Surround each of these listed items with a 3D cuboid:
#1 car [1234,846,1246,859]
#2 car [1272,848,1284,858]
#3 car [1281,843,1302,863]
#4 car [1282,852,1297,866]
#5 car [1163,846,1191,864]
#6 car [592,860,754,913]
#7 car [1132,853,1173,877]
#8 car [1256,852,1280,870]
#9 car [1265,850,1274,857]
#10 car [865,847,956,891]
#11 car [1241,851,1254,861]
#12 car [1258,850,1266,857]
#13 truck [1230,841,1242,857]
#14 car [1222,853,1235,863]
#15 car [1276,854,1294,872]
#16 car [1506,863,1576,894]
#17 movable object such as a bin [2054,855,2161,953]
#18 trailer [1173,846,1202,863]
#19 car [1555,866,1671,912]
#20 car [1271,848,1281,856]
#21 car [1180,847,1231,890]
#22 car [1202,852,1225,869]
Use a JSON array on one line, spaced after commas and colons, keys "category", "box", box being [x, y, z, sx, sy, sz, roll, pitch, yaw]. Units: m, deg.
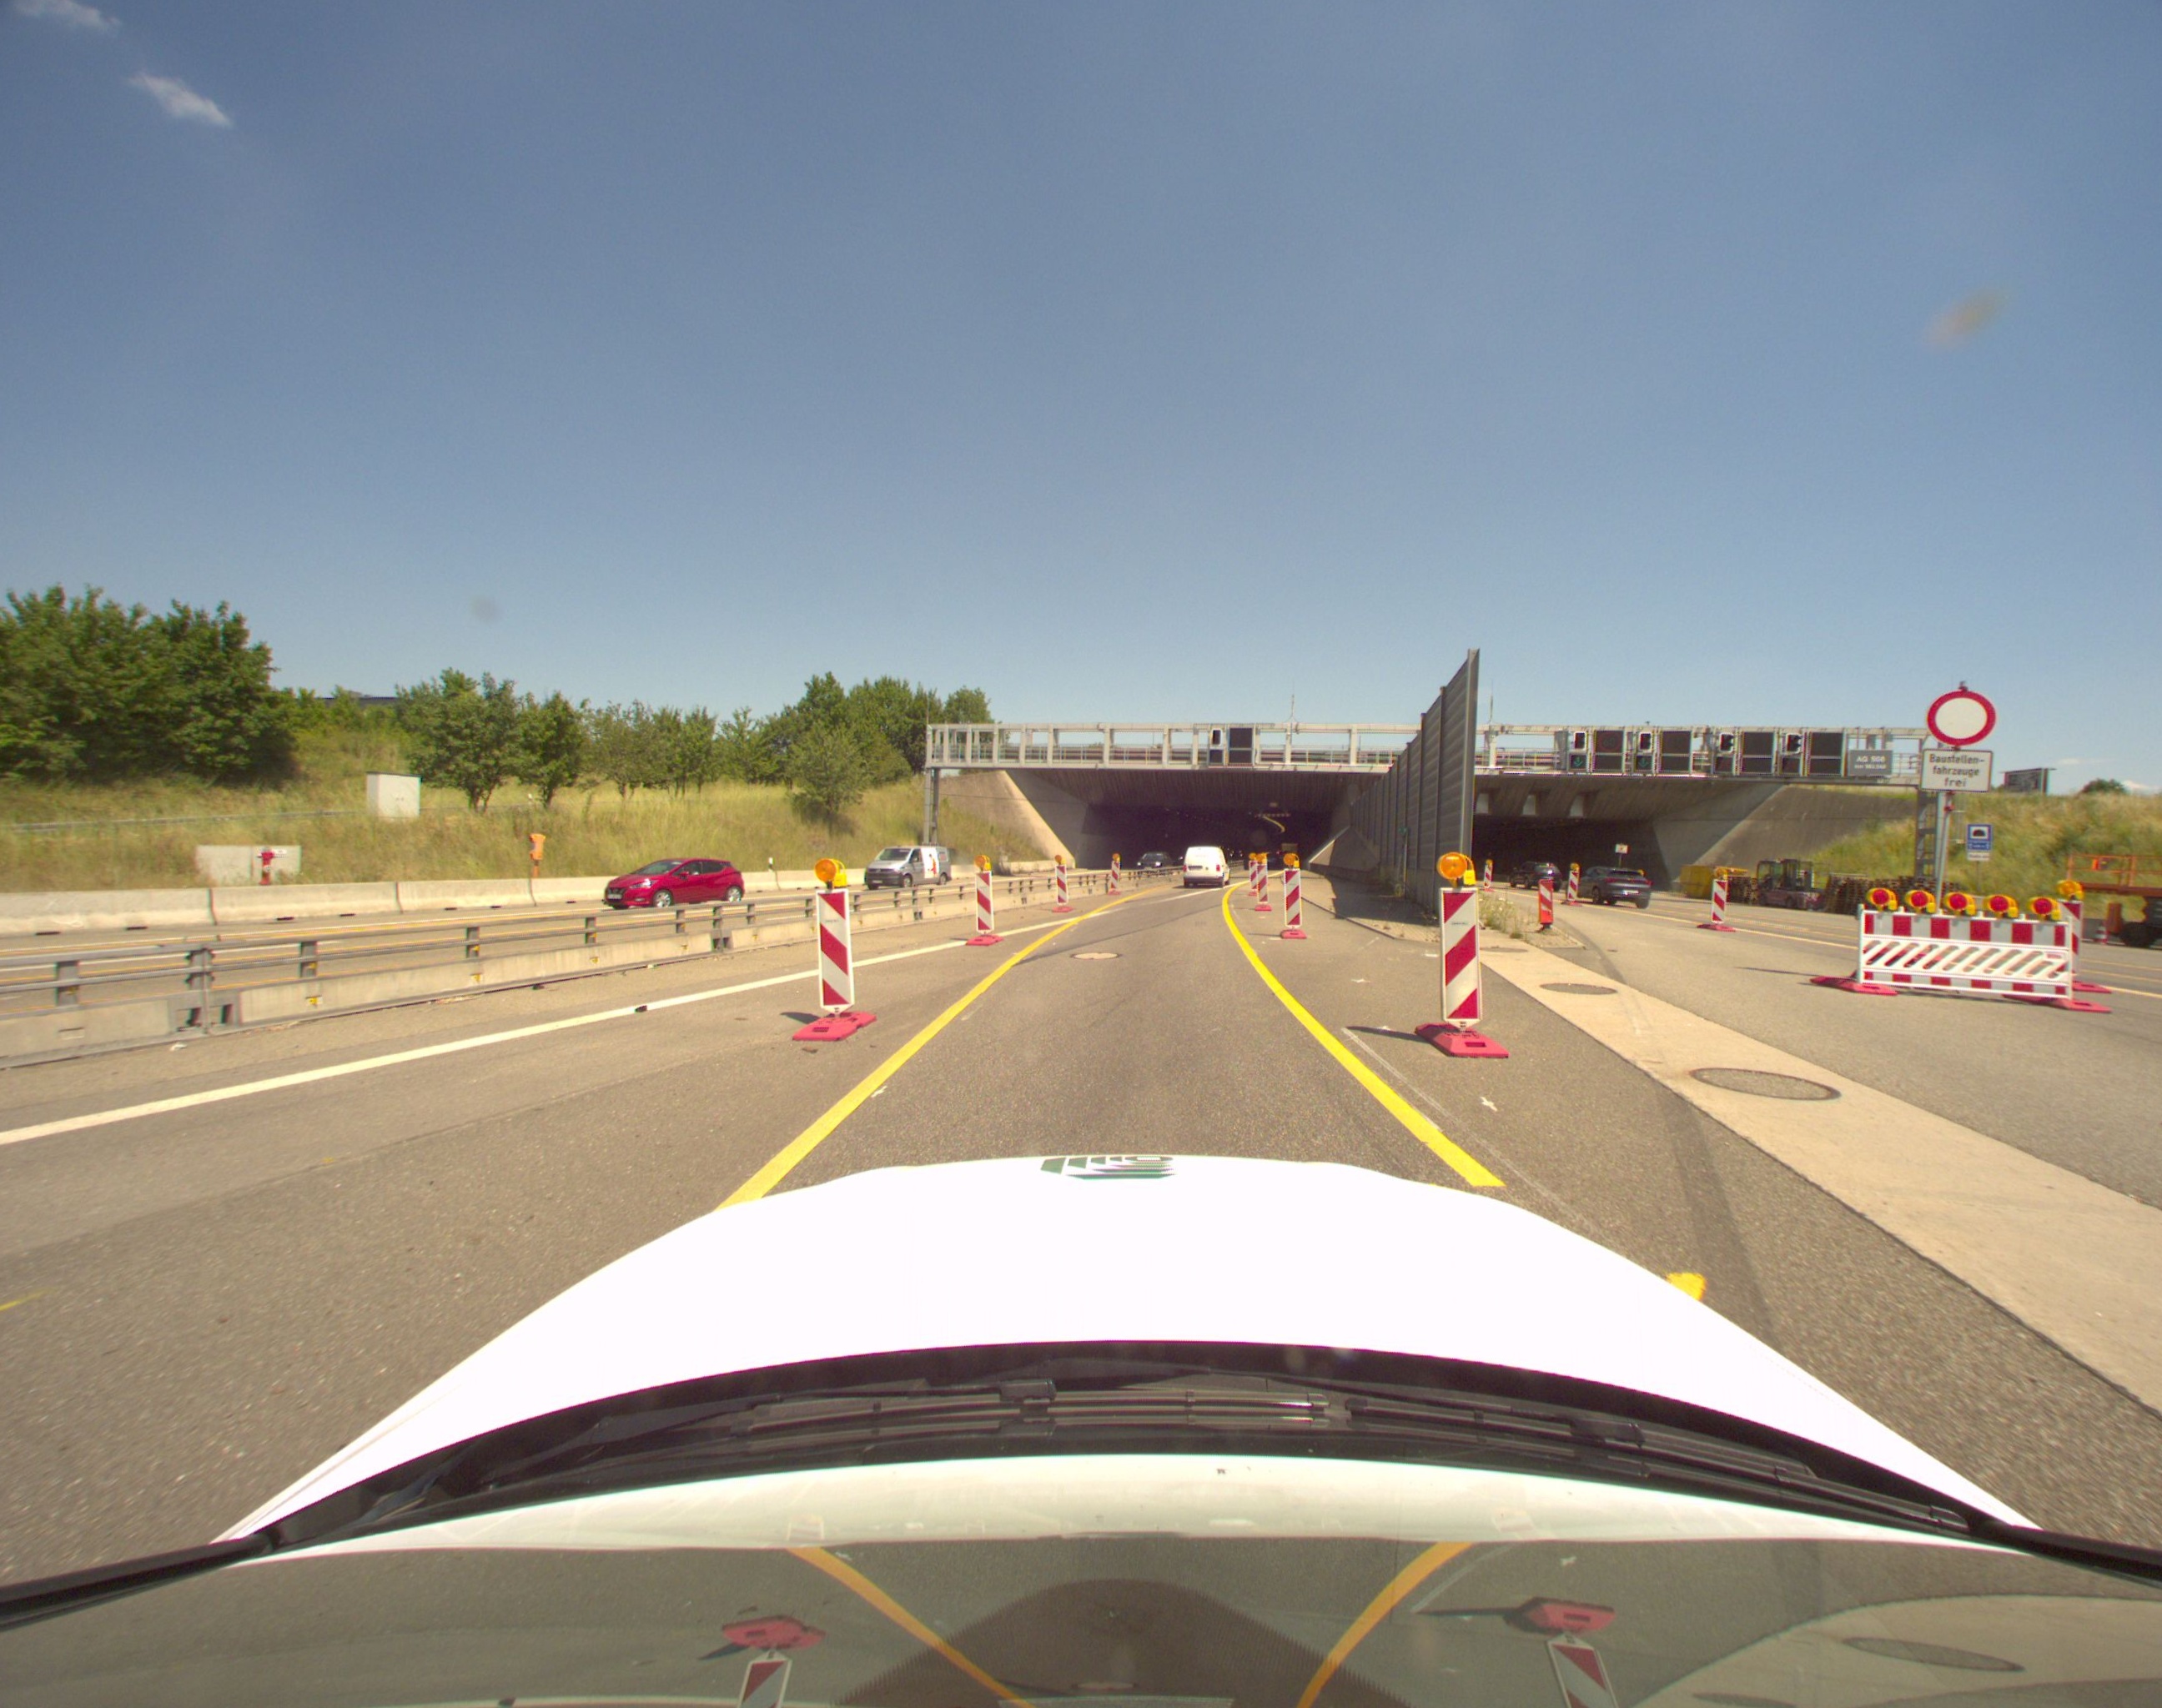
[{"category": "car", "box": [31.239, -0.362, 160.159, 1.979, 2.515, 6.064, -1, 0, 13]}, {"category": "car", "box": [42.028, -0.251, 173.906, 1.929, 2.021, 4.673, 0, 0, 8]}, {"category": "car", "box": [31.957, -0.074, 123.476, 2.792, 2.774, 7.130, -2, -2, 16]}, {"category": "car", "box": [26.318, 0.610, 102.771, 1.796, 1.751, 4.426, 1, 0, 14]}, {"category": "car", "box": [9.659, 0.108, 81.709, 1.759, 1.727, 4.892, -1, 0, 20]}, {"category": "car", "box": [-11.596, 0.879, 23.443, 1.672, 1.395, 4.022, -1, -1, 23]}, {"category": "car", "box": [5.045, 0.722, 56.829, 1.728, 1.593, 4.250, 0, 0, 21]}, {"category": "car", "box": [16.188, 0.600, 70.366, 1.795, 1.537, 4.428, 1, 0, 16]}, {"category": "car", "box": [54.315, -0.047, 234.504, 2.061, 2.021, 4.673, 0, 0, 8]}, {"category": "car", "box": [-7.529, 0.684, 36.514, 1.673, 1.834, 4.811, -1, -1, 20]}, {"category": "car", "box": [25.659, 0.316, 125.318, 1.761, 1.577, 4.463, -1, 0, 14]}, {"category": "car", "box": [56.441, -0.171, 254.340, 2.061, 2.021, 4.673, 0, 0, 8]}, {"category": "truck", "box": [39.432, -1.179, 207.353, 2.791, 3.915, 6.478, 0, 0, 13]}, {"category": "car", "box": [24.543, 0.682, 135.424, 1.760, 1.515, 4.583, -1, 0, 15]}, {"category": "car", "box": [21.480, 0.902, 85.807, 1.796, 1.815, 4.426, 1, 0, 14]}, {"category": "car", "box": [27.603, 1.431, 49.038, 2.007, 1.662, 5.252, 3, 0, 10]}, {"category": "movable object such as a bin", "box": [33.991, 1.551, 20.732, 3.092, 3.011, 14.742, 1, 0, 10]}, {"category": "trailer", "box": [11.400, 0.044, 86.651, 1.930, 1.805, 5.550, -1, 0, 20]}, {"category": "car", "box": [21.137, 1.334, 32.634, 1.983, 1.486, 4.687, 3, 0, 7]}, {"category": "car", "box": [49.937, -0.462, 208.497, 1.929, 2.021, 4.673, 0, 0, 8]}, {"category": "car", "box": [5.716, 0.633, 37.069, 1.795, 1.794, 3.746, 1, 0, 15]}, {"category": "car", "box": [13.279, 0.596, 81.444, 1.760, 1.593, 5.007, -1, 0, 16]}]
